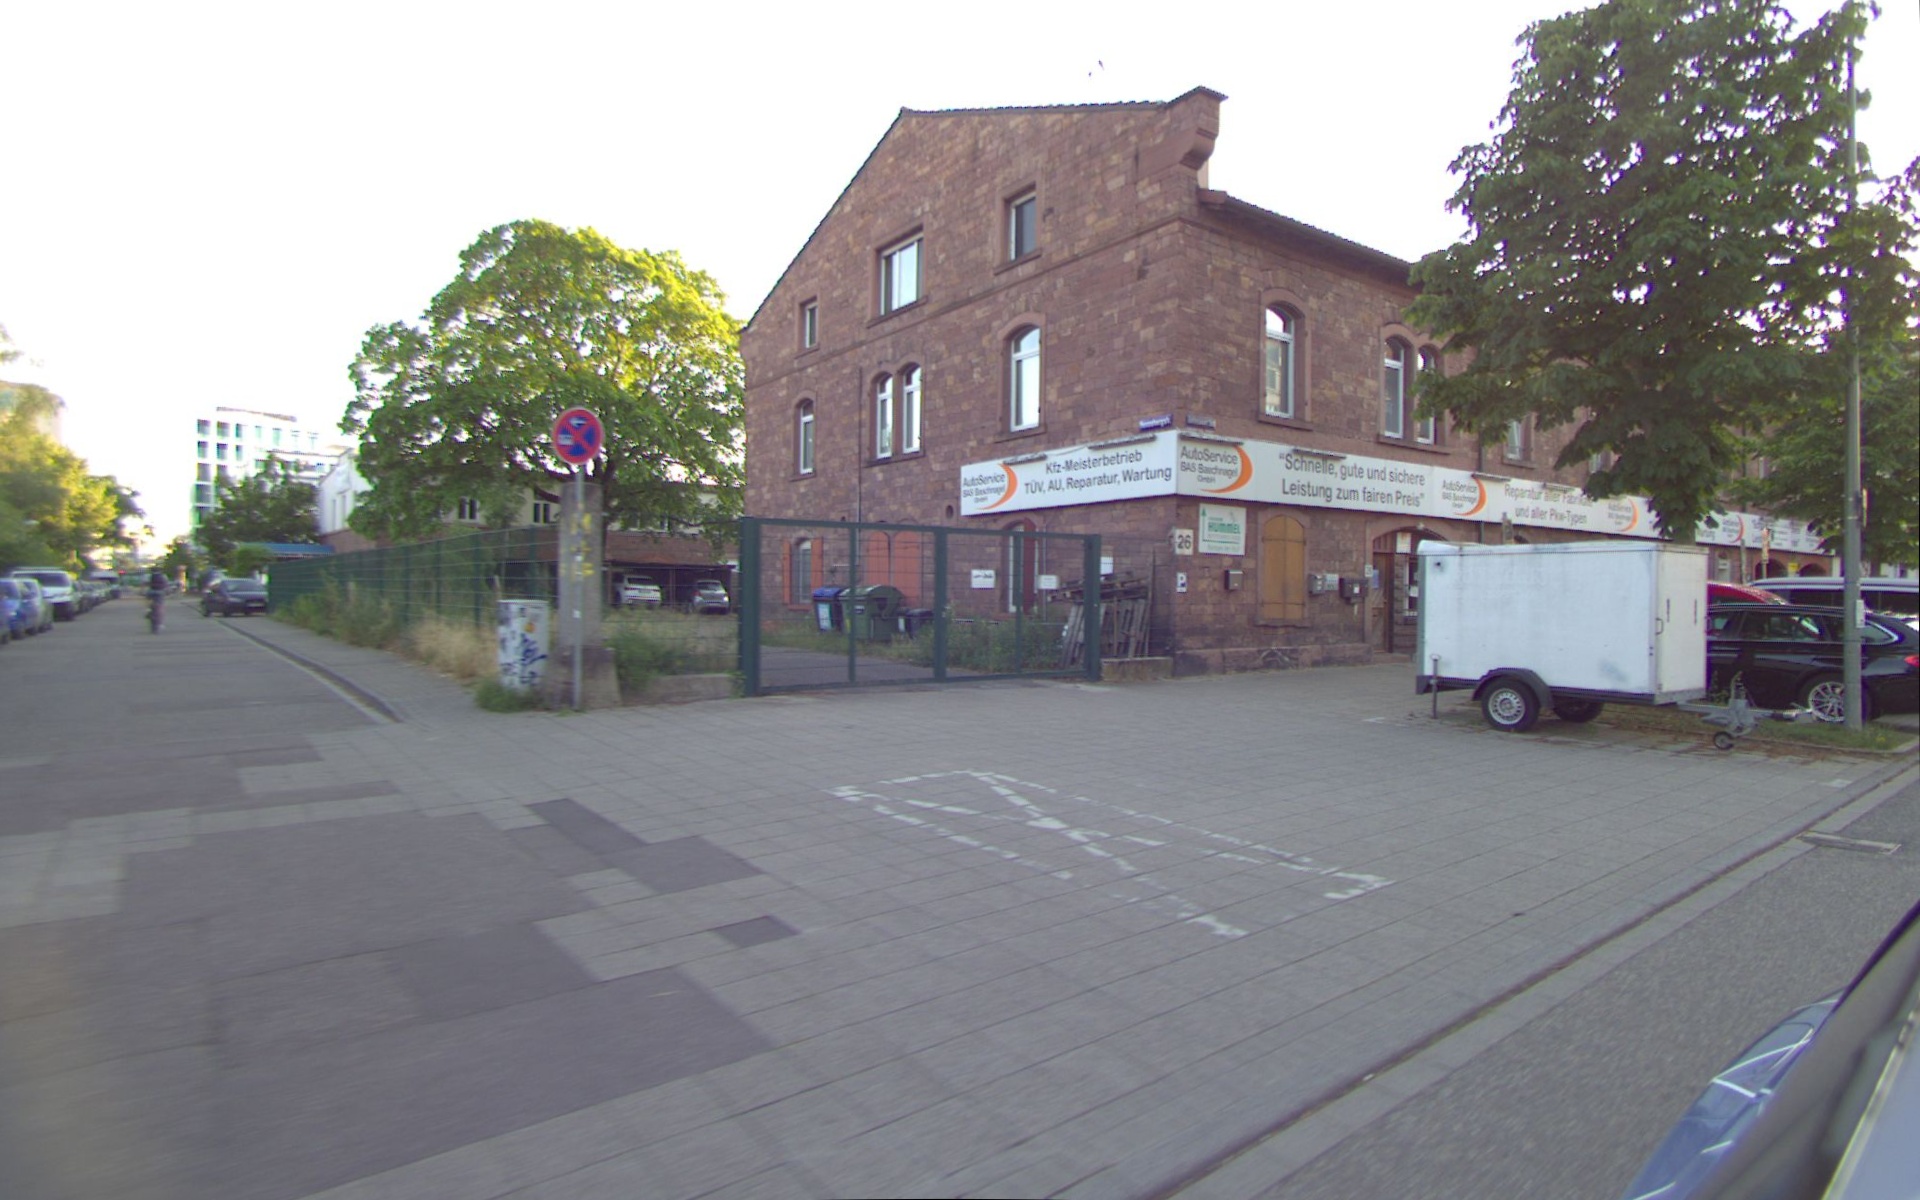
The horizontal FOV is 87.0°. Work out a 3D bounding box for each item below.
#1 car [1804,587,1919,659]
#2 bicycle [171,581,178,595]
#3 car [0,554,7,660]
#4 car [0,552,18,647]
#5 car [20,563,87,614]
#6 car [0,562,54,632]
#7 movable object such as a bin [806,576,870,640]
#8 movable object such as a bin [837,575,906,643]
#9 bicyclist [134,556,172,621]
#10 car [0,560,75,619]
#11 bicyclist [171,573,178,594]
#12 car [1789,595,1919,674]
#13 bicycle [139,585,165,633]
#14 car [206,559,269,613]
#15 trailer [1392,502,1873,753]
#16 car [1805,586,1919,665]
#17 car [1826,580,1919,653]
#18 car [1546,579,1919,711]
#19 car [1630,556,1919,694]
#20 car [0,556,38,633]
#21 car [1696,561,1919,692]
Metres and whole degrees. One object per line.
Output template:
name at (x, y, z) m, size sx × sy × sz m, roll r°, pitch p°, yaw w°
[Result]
car at (23.798, 0.631, 24.784) m, size 1.945 × 1.594 × 4.428 m, roll 1°, pitch 3°, yaw -38°
bicycle at (-61.718, -0.942, 79.507) m, size 0.342 × 1.076 × 1.264 m, roll 0°, pitch 0°, yaw -41°
car at (-16.702, 0.129, 16.147) m, size 1.965 × 1.790 × 3.994 m, roll 0°, pitch 0°, yaw -40°
car at (-20.765, -0.028, 20.718) m, size 1.965 × 1.856 × 3.994 m, roll 0°, pitch 0°, yaw -40°
car at (-37.806, -0.471, 42.272) m, size 1.965 × 2.039 × 3.994 m, roll 0°, pitch 0°, yaw -40°
car at (-26.457, -0.098, 27.994) m, size 1.965 × 1.837 × 3.994 m, roll 0°, pitch 0°, yaw -40°
movable object such as a bin at (-2.897, 0.182, 24.031) m, size 1.039 × 1.462 × 1.290 m, roll 0°, pitch 0°, yaw -34°
movable object such as a bin at (-1.995, 0.191, 22.779) m, size 1.076 × 1.462 × 1.264 m, roll 0°, pitch 0°, yaw -34°
bicyclist at (-21.618, -0.306, 27.110) m, size 0.731 × 1.720 × 0.979 m, roll 0°, pitch 0°, yaw -42°
car at (-33.378, -0.380, 36.607) m, size 1.965 × 2.039 × 3.994 m, roll 0°, pitch 0°, yaw -40°
bicyclist at (-61.696, -1.293, 79.486) m, size 0.443 × 1.569 × 0.454 m, roll 0°, pitch 0°, yaw -41°
car at (20.144, 0.710, 21.275) m, size 1.788 × 1.585 × 3.954 m, roll 0°, pitch 1°, yaw -39°
bicycle at (-21.704, 0.223, 27.165) m, size 0.444 × 1.239 × 1.879 m, roll 0°, pitch 0°, yaw -42°
car at (-28.812, -0.559, 40.401) m, size 1.962 × 2.039 × 3.999 m, roll 0°, pitch 0°, yaw -36°
trailer at (7.165, 0.221, 11.164) m, size 1.962 × 2.215 × 4.000 m, roll 0°, pitch 0°, yaw -35°
car at (21.957, 0.607, 22.907) m, size 1.860 × 1.638 × 3.999 m, roll 0°, pitch 3°, yaw -38°
car at (25.898, 0.525, 26.283) m, size 1.980 × 1.775 × 4.802 m, roll 1°, pitch 3°, yaw -38°
car at (10.619, 0.492, 13.617) m, size 1.741 × 1.518 × 4.439 m, roll 0°, pitch 1°, yaw -37°
car at (12.661, 0.316, 14.893) m, size 1.869 × 1.822 × 4.312 m, roll 0°, pitch 0°, yaw -37°
car at (-23.771, -0.139, 24.510) m, size 1.965 × 1.784 × 3.994 m, roll 0°, pitch 0°, yaw -40°
car at (14.495, 0.382, 16.220) m, size 1.963 × 1.928 × 3.997 m, roll 0°, pitch 0°, yaw -38°
